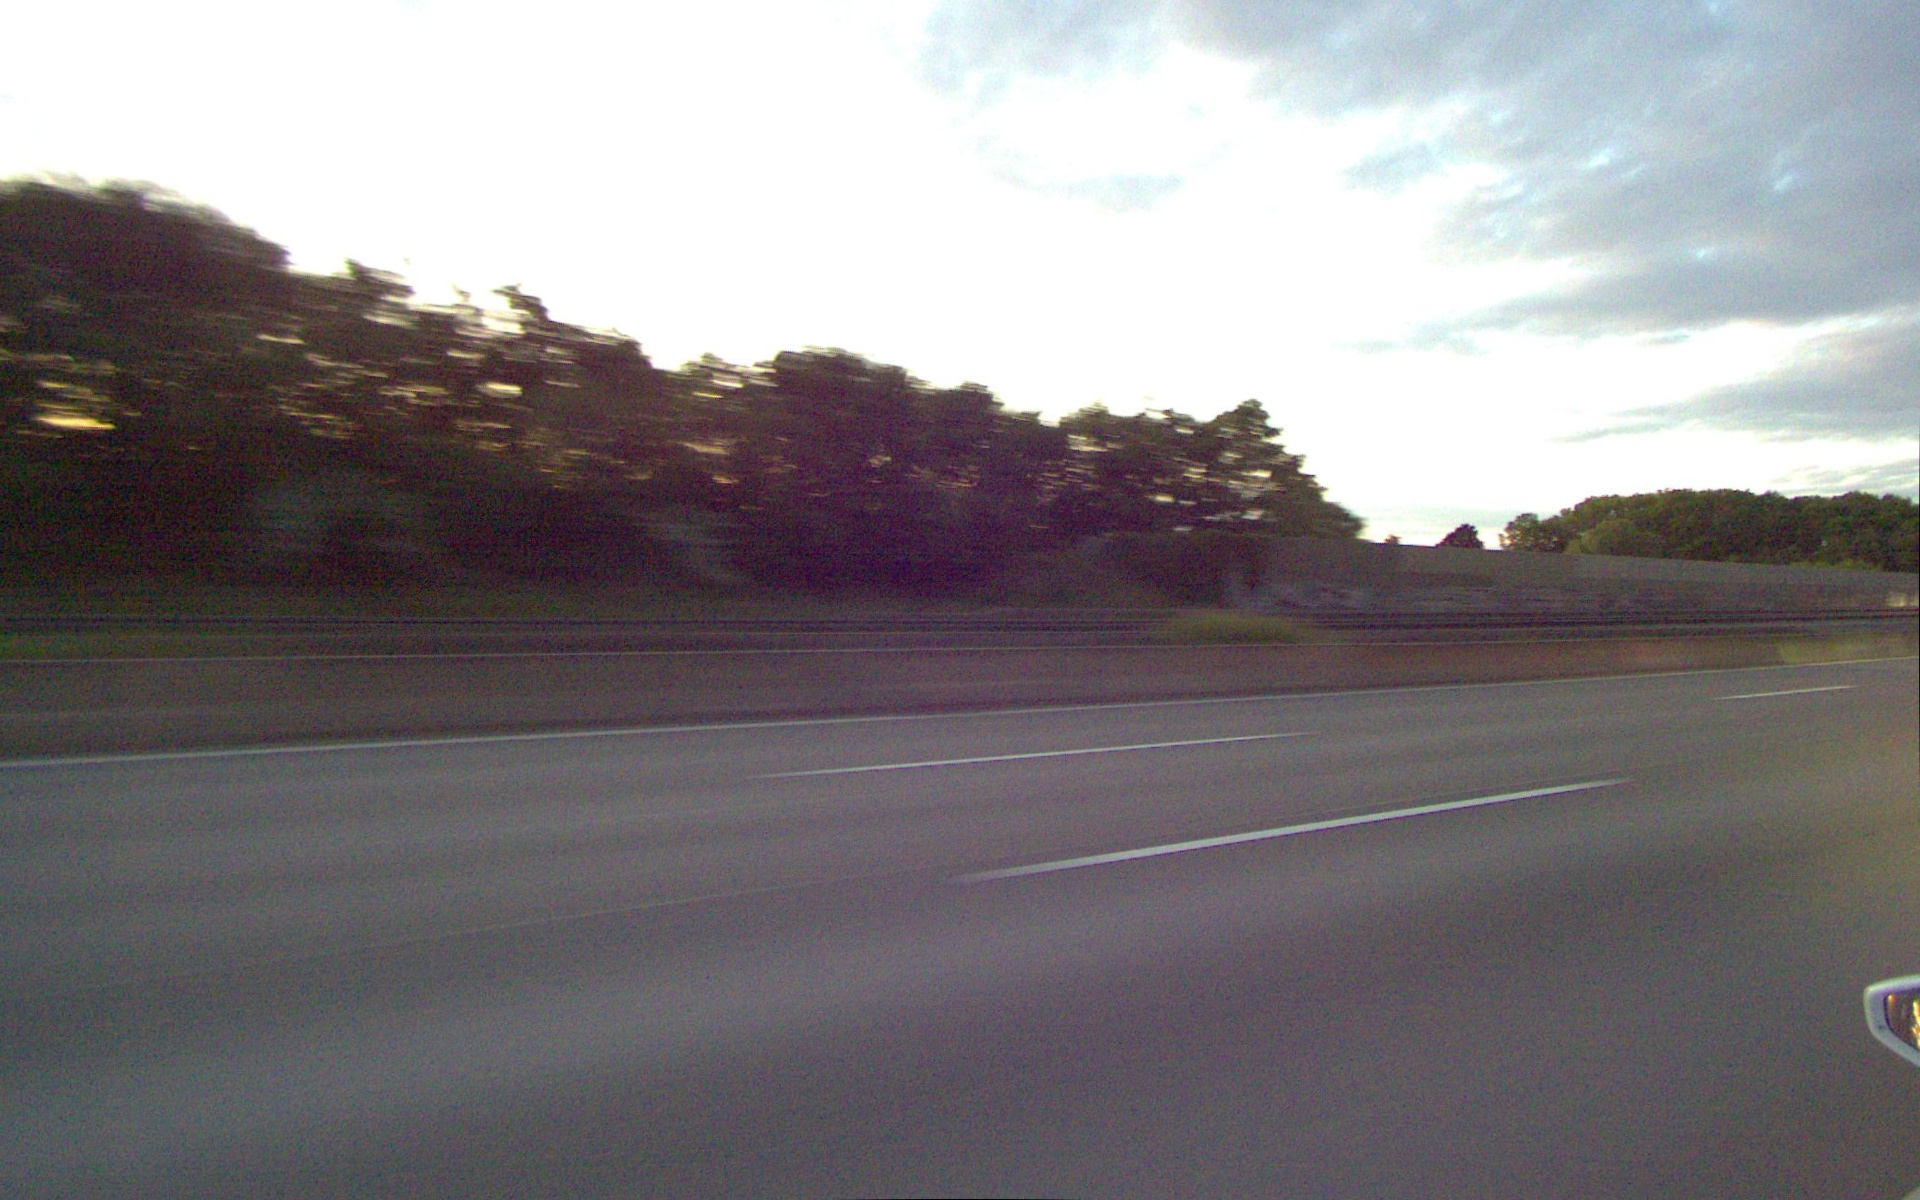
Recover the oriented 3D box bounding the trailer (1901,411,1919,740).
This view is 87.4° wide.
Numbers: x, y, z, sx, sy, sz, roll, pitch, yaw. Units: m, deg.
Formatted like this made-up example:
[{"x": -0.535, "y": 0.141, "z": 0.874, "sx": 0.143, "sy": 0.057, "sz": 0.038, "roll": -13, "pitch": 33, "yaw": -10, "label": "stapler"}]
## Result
[{"x": 19.264, "y": -0.132, "z": 15.345, "sx": 14.897, "sy": 4.171, "sz": 3.531, "roll": 2, "pitch": -1, "yaw": -32, "label": "trailer"}]
